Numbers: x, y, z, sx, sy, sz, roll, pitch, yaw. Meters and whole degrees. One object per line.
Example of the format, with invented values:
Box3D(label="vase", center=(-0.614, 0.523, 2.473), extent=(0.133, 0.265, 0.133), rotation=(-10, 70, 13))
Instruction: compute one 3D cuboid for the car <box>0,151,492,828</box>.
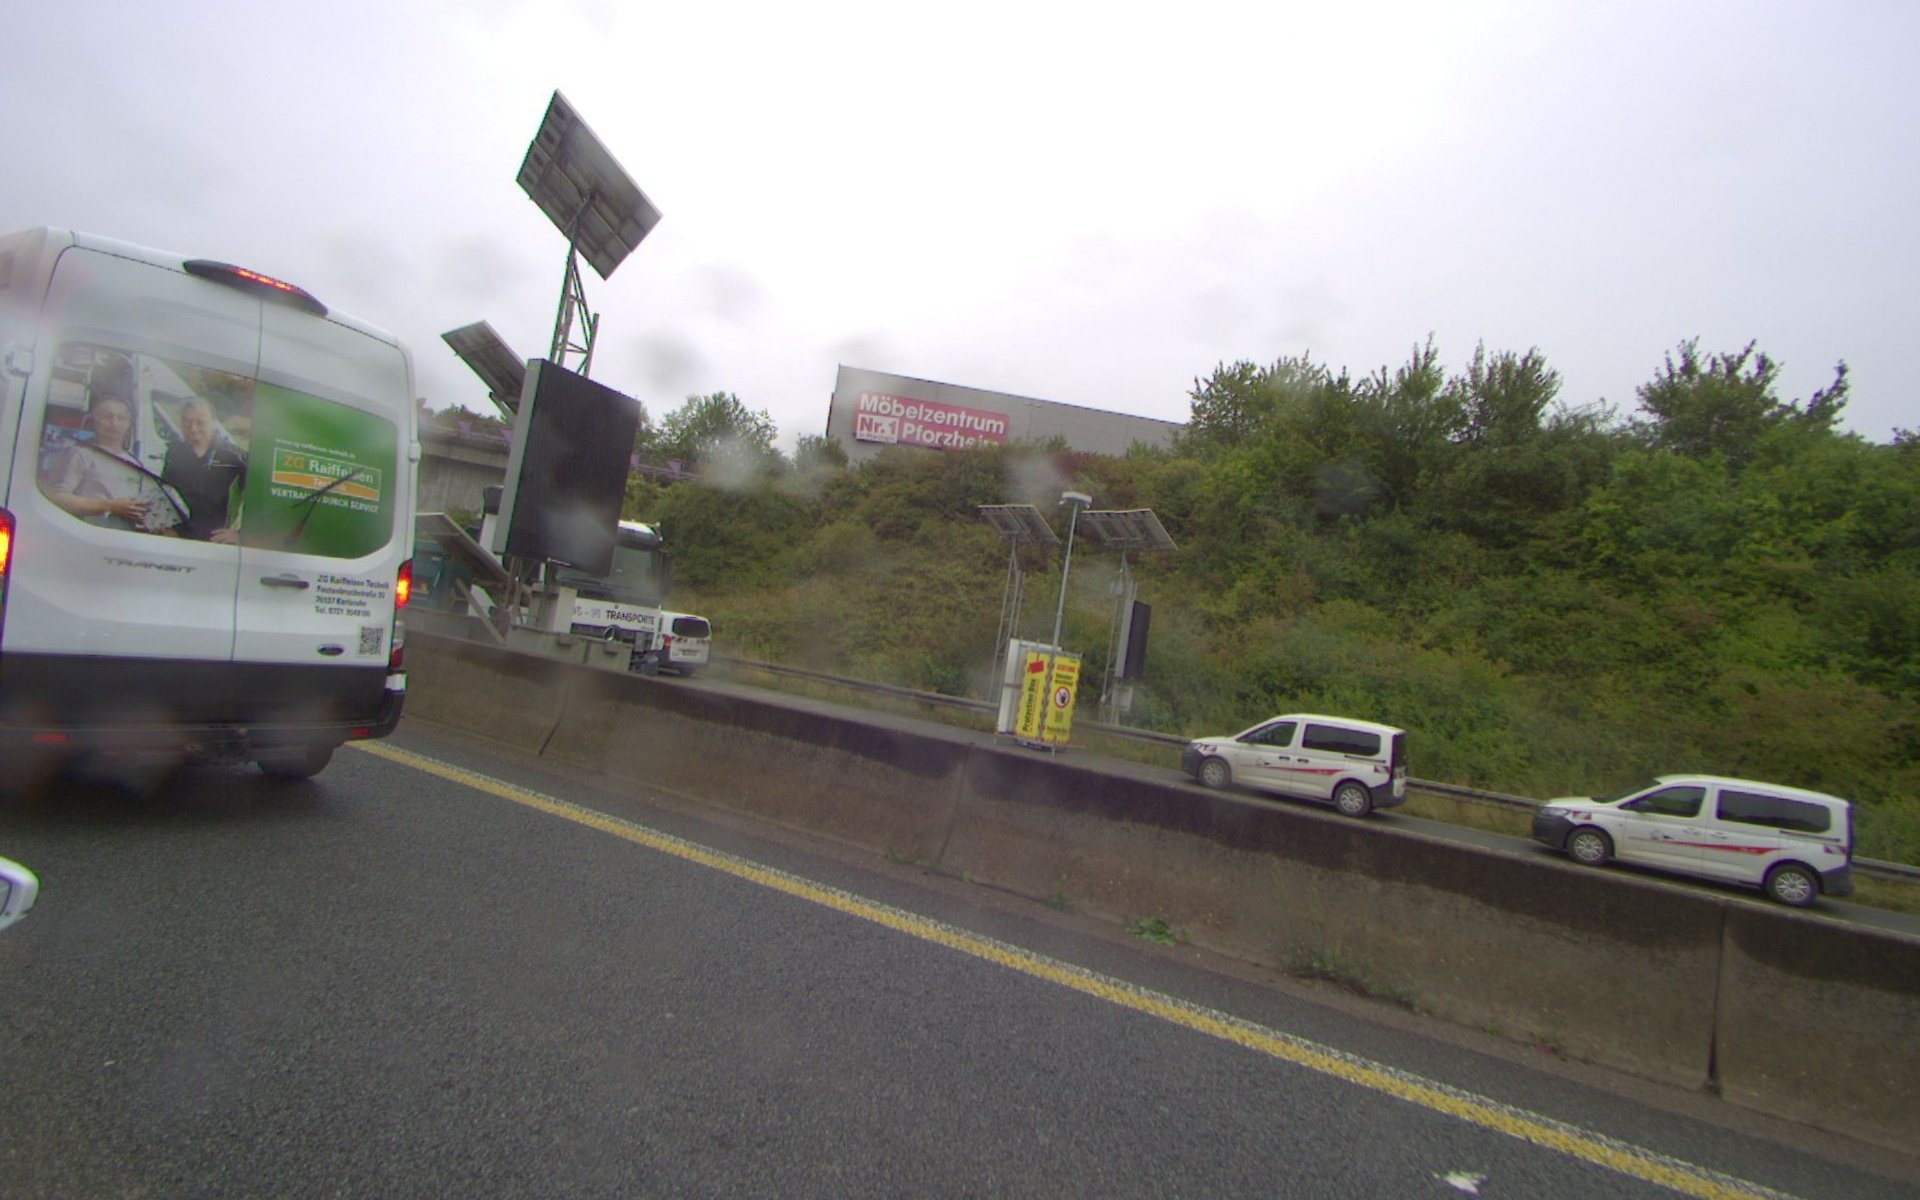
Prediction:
Box3D(label="car", center=(-5.947, -0.597, 6.441), extent=(6.016, 2.707, 2.148), rotation=(6, -1, 32))

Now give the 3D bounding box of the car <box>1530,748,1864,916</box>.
Box3D(label="car", center=(12.244, 3.790, 17.118), extent=(4.257, 1.790, 1.732), rotation=(6, -2, 31))

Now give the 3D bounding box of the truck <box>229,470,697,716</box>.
Box3D(label="truck", center=(-8.774, -0.283, 17.167), extent=(8.968, 3.168, 2.525), rotation=(6, -1, 32))

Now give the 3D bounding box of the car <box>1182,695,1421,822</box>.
Box3D(label="car", center=(6.929, 3.132, 20.499), extent=(4.197, 1.778, 1.732), rotation=(6, -2, 31))

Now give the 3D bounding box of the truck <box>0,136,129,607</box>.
Box3D(label="truck", center=(-20.996, -3.859, 17.187), extent=(20.041, 5.740, 3.986), rotation=(6, -1, 32))

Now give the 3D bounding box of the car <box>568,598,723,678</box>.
Box3D(label="car", center=(-9.774, 1.143, 31.158), extent=(4.651, 1.850, 1.945), rotation=(6, -2, 34))
